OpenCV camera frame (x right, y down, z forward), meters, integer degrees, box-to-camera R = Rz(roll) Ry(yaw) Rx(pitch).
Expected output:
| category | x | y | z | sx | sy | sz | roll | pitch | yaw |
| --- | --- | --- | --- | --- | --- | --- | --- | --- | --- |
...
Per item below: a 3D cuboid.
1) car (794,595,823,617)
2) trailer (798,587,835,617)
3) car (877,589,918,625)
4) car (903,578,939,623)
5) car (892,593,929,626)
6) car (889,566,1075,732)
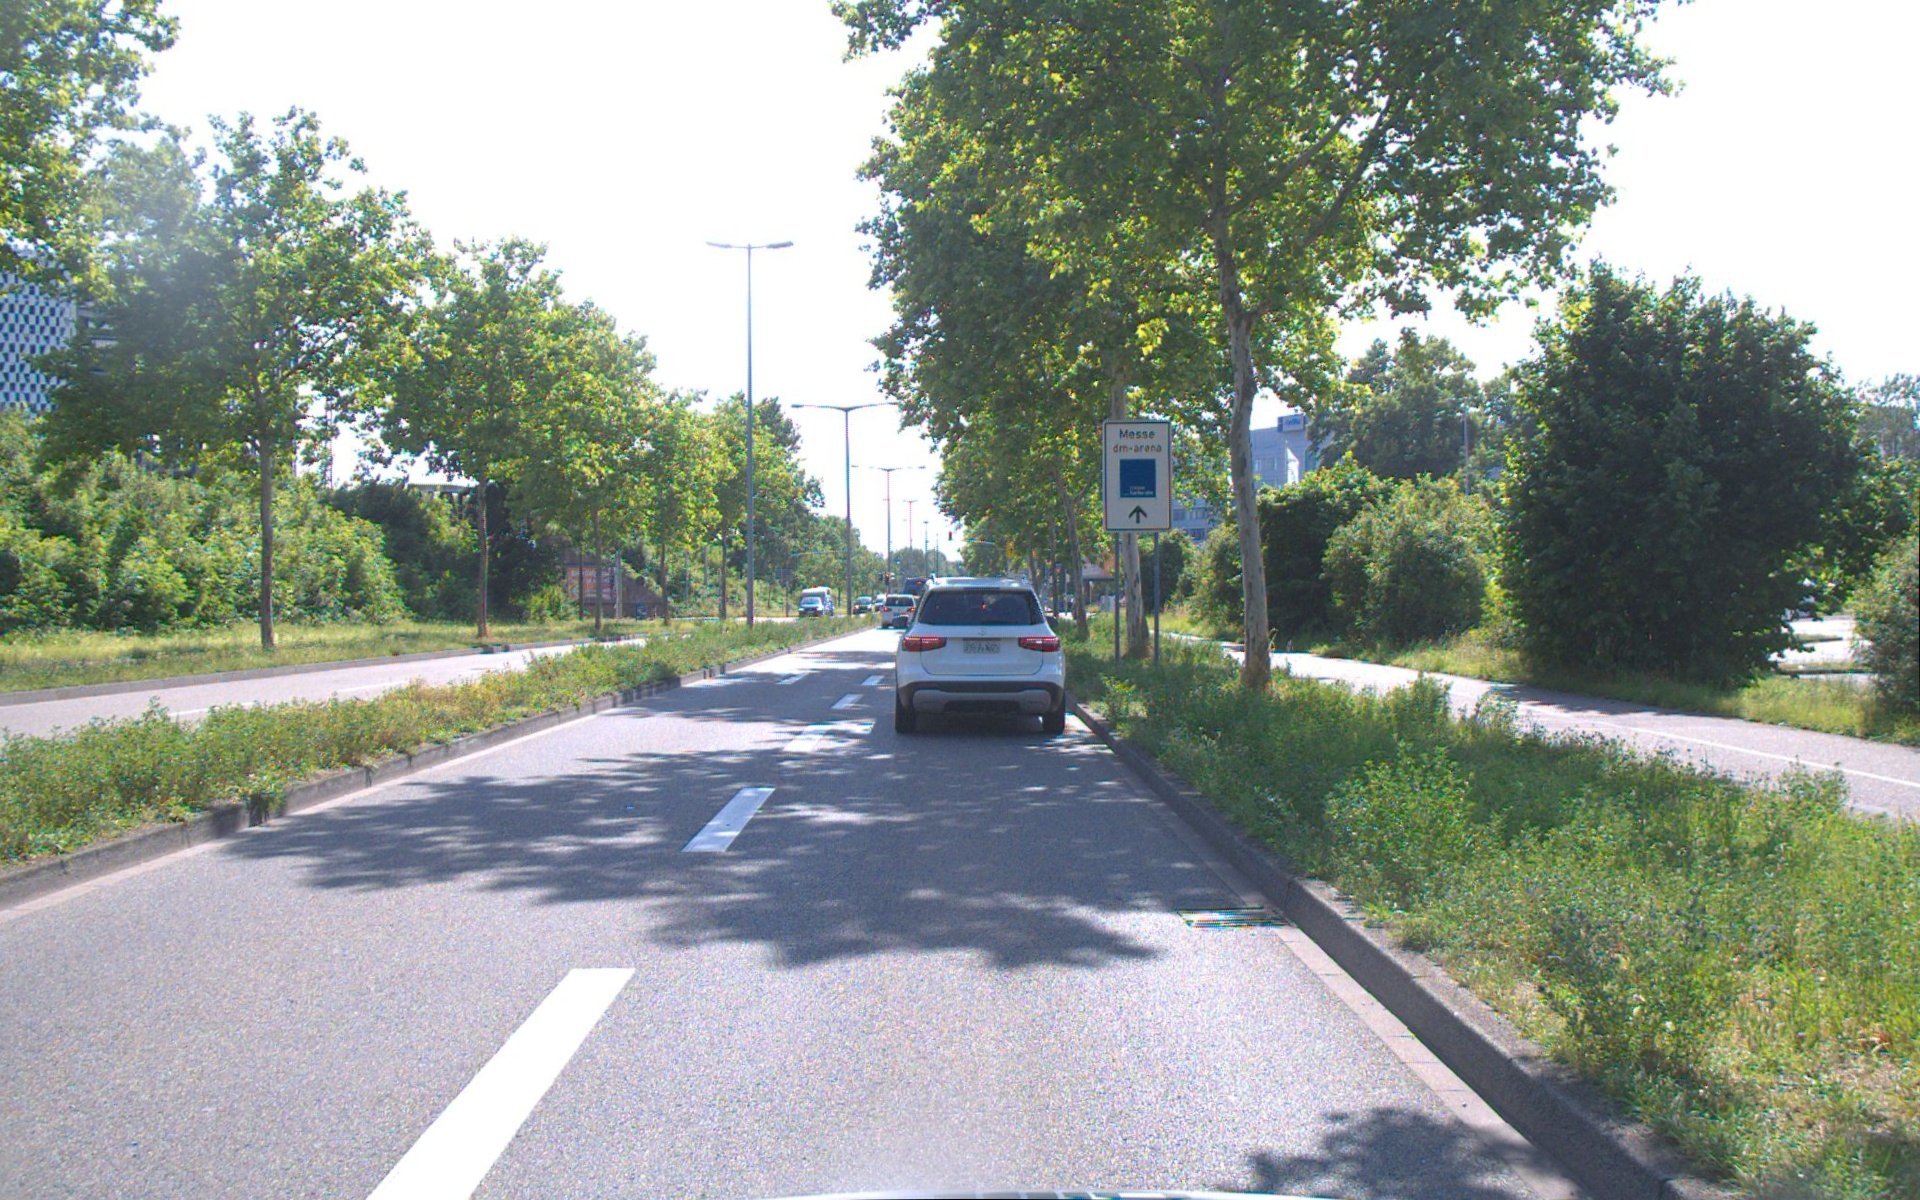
| category | x | y | z | sx | sy | sz | roll | pitch | yaw |
| --- | --- | --- | --- | --- | --- | --- | --- | --- | --- |
| car | -11.227 | 0.464 | 123.004 | 1.680 | 1.650 | 4.361 | 0 | 0 | 1 |
| trailer | -11.095 | 0.182 | 127.990 | 2.261 | 2.305 | 5.538 | 0 | 0 | 1 |
| car | -2.998 | 0.348 | 80.512 | 1.735 | 1.676 | 4.352 | 0 | 0 | 1 |
| car | -2.425 | 0.037 | 104.545 | 2.038 | 2.703 | 4.874 | 1 | 0 | 1 |
| car | -2.624 | 0.507 | 88.609 | 1.735 | 1.676 | 4.085 | 0 | 0 | 1 |
| car | 0.139 | 0.503 | 18.621 | 1.817 | 1.635 | 3.997 | 1 | 0 | -3 |
